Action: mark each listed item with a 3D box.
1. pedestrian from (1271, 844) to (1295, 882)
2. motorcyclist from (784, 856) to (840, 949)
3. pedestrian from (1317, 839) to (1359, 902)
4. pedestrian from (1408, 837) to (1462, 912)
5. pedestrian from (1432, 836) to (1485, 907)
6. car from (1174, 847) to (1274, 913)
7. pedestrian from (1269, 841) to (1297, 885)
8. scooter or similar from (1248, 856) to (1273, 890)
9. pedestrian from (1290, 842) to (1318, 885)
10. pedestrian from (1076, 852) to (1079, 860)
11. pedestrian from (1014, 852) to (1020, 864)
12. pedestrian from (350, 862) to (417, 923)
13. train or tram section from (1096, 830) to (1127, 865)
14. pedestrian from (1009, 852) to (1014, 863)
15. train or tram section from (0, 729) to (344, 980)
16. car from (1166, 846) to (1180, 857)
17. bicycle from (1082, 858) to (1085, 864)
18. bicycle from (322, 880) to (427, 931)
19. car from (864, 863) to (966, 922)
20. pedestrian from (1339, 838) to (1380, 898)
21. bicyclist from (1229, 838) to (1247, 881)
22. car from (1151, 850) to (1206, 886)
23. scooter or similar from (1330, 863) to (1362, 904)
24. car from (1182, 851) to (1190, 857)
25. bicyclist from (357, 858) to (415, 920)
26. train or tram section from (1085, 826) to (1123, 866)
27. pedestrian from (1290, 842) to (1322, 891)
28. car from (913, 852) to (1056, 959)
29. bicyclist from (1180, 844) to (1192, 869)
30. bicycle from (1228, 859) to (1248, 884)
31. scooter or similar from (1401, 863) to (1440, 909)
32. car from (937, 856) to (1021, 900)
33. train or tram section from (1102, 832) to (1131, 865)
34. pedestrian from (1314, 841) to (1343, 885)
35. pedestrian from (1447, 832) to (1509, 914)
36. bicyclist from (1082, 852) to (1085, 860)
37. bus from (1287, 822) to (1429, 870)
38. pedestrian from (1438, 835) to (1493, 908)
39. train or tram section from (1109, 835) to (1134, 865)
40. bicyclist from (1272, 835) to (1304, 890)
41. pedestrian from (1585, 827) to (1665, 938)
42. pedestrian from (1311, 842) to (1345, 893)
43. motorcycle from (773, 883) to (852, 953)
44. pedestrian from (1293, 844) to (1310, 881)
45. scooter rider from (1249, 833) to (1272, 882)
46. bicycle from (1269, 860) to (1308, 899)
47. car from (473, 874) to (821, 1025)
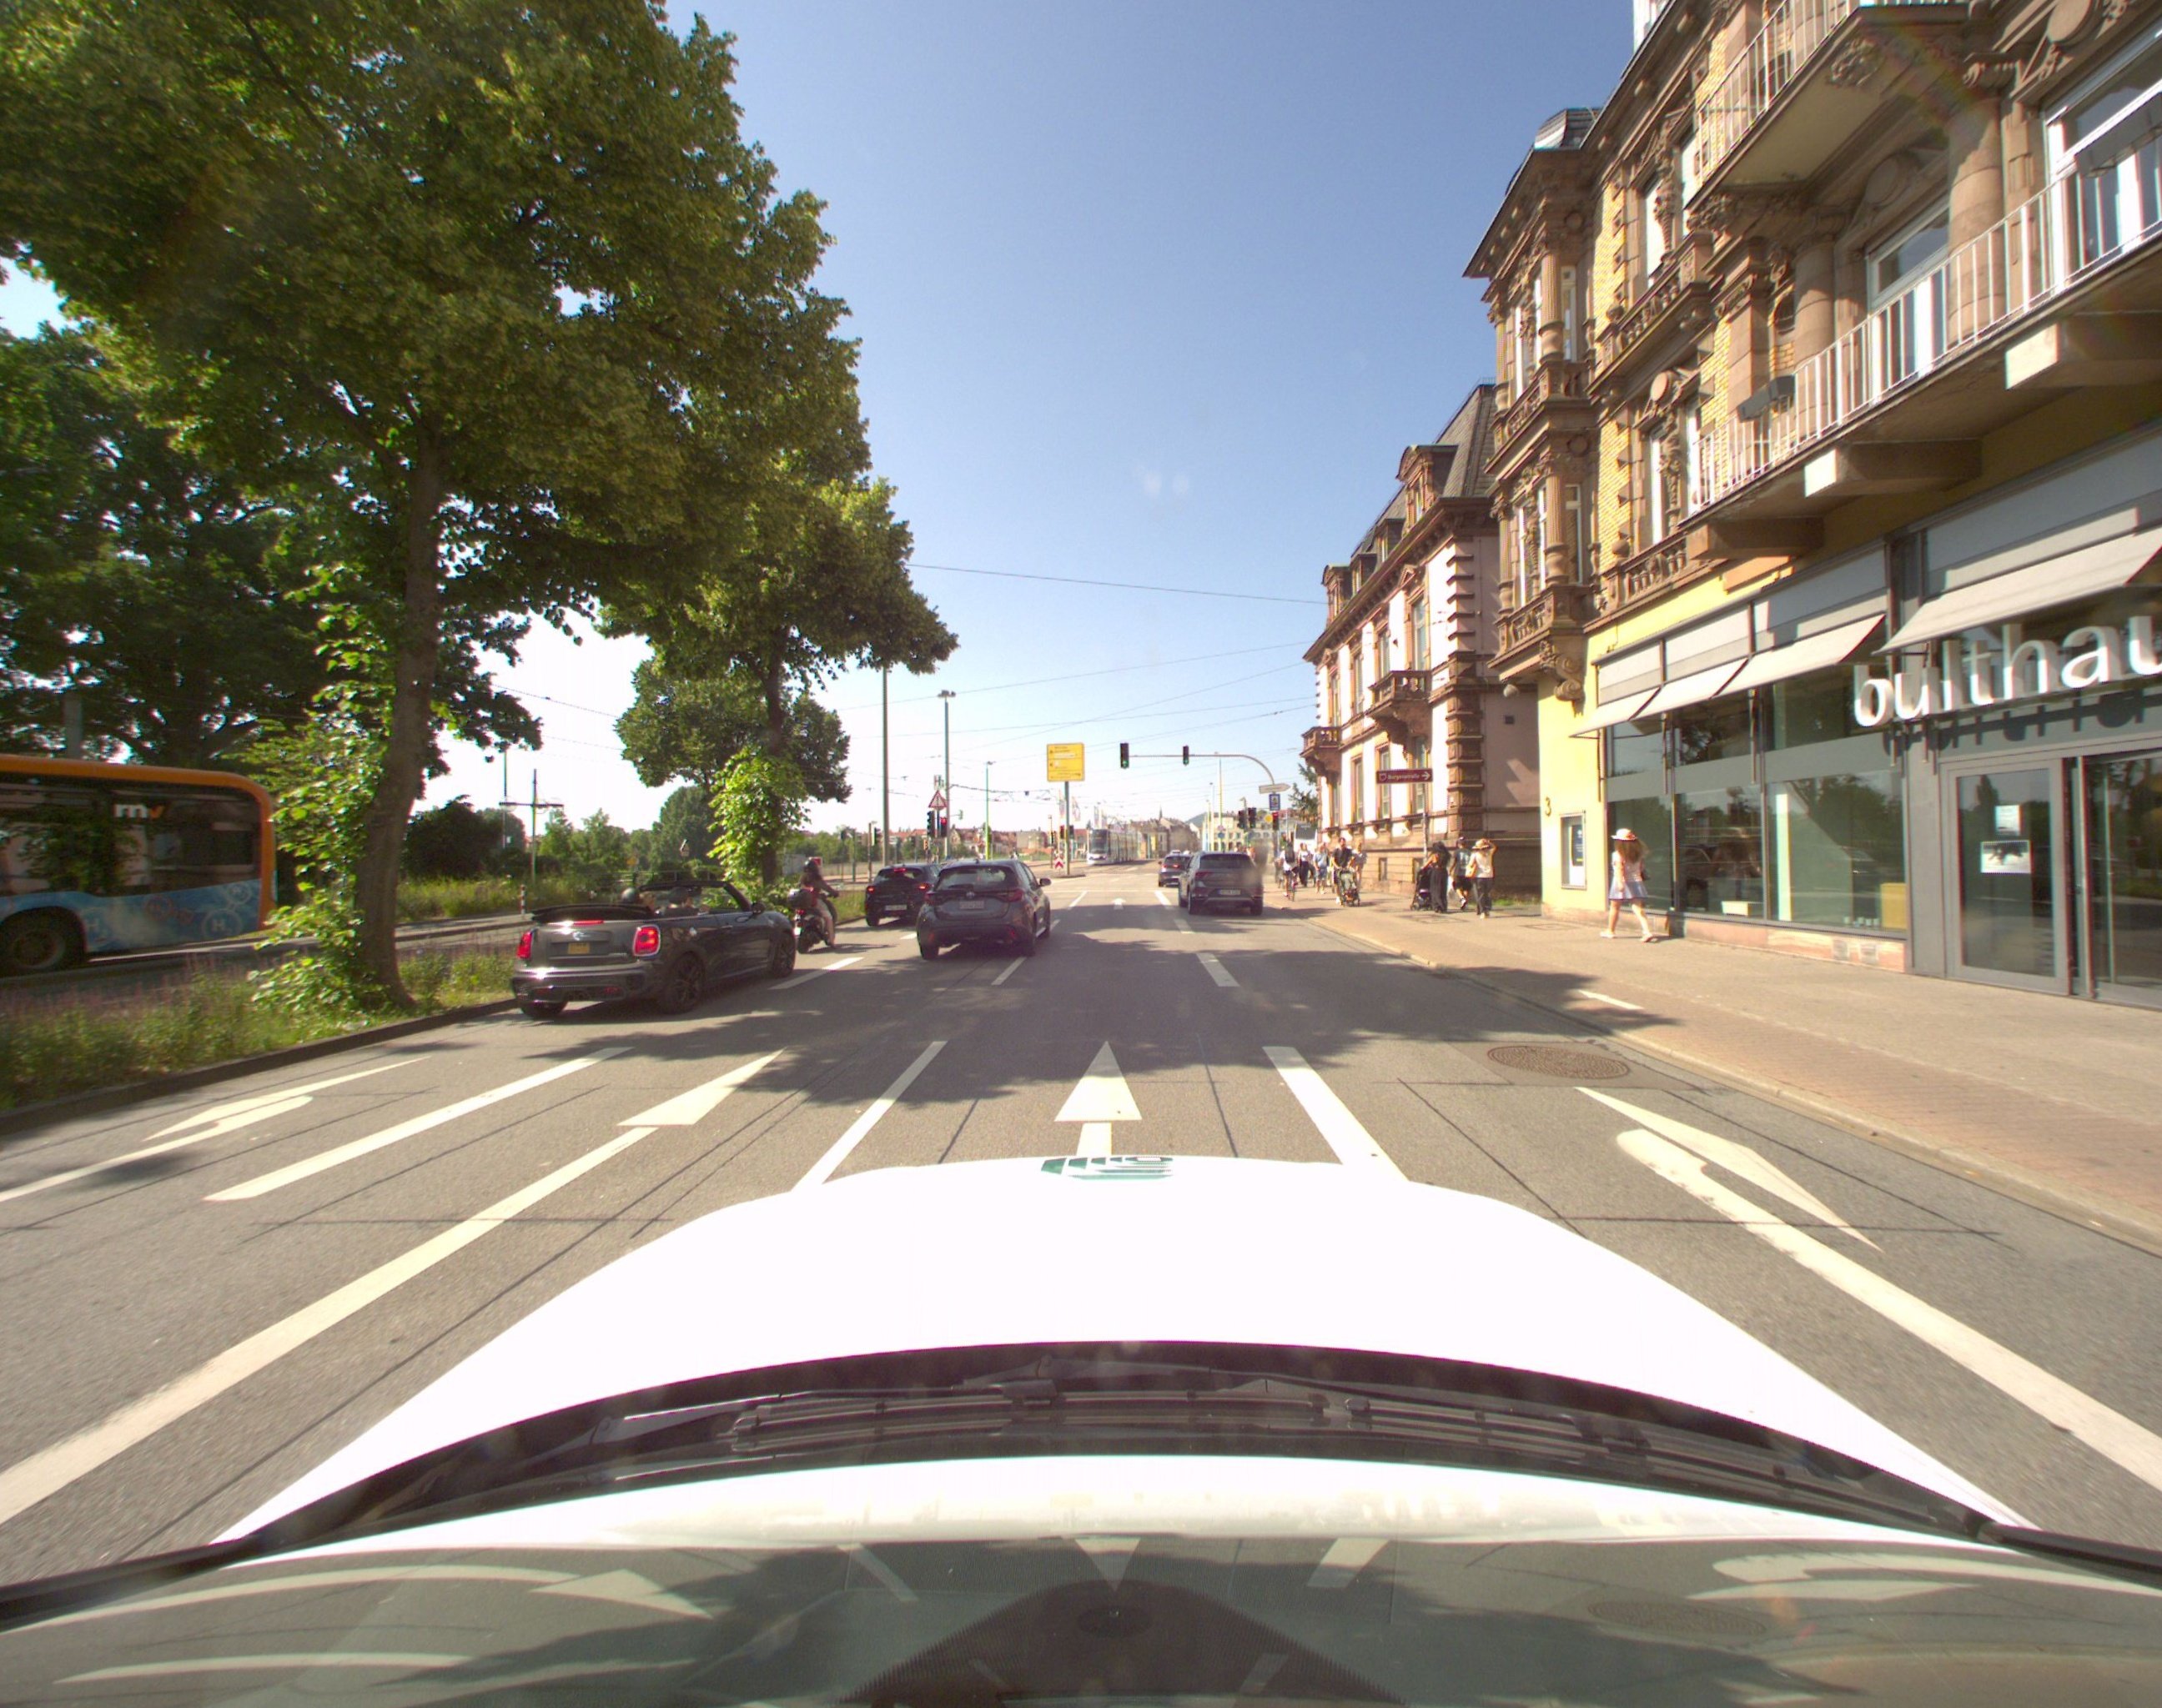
[{"bbox_3d":[9.033,0.400,36.422,0.859,1.640,0.876,1,-1,2],"label":"pedestrian"},{"bbox_3d":[-4.701,0.838,14.261,0.687,1.556,0.718,-2,-2,0],"label":"motorcyclist"},{"bbox_3d":[6.980,0.441,22.129,0.859,1.640,0.876,1,-1,2],"label":"pedestrian"},{"bbox_3d":[8.033,0.460,18.526,0.859,1.640,0.876,1,-1,2],"label":"pedestrian"},{"bbox_3d":[9.016,0.405,19.488,0.859,1.640,0.876,1,-1,2],"label":"pedestrian"},{"bbox_3d":[3.545,0.610,20.879,1.867,1.493,4.000,1,0,1],"label":"car"},{"bbox_3d":[7.775,0.338,31.427,0.859,1.640,0.876,1,-1,2],"label":"pedestrian"},{"bbox_3d":[6.419,0.675,29.232,0.685,1.167,1.466,1,-1,6],"label":"scooter or similar"},{"bbox_3d":[8.707,0.359,31.775,0.859,1.640,0.876,1,-1,2],"label":"pedestrian"},{"bbox_3d":[-0.668,0.316,146.272,0.556,1.416,0.636,1,-1,1],"label":"pedestrian"},{"bbox_3d":[-7.836,0.450,99.703,0.556,1.416,0.636,1,-1,1],"label":"pedestrian"},{"bbox_3d":[-22.582,1.229,26.393,0.974,1.891,1.255,1,-1,6],"label":"pedestrian"},{"bbox_3d":[3.446,-0.702,91.198,2.808,3.777,8.240,1,0,6],"label":"train or tram section"},{"bbox_3d":[-8.500,0.437,99.730,0.556,1.416,0.636,1,-1,1],"label":"pedestrian"},{"bbox_3d":[-16.795,-0.022,12.679,2.811,3.581,8.232,1,0,3],"label":"train or tram section"},{"bbox_3d":[12.796,-0.328,113.706,1.850,1.507,4.005,1,0,4],"label":"car"},{"bbox_3d":[0.400,1.324,149.023,0.556,1.125,1.223,1,-1,2],"label":"bicycle"},{"bbox_3d":[-21.796,1.554,25.225,0.839,1.424,2.506,1,-1,6],"label":"bicycle"},{"bbox_3d":[-4.066,0.906,20.564,1.445,1.301,4.005,-2,-1,4],"label":"car"},{"bbox_3d":[7.919,0.385,23.166,0.859,1.640,0.876,-1,0,2],"label":"pedestrian"},{"bbox_3d":[7.274,0.245,37.749,0.685,1.962,0.779,1,-1,5],"label":"bicyclist"},{"bbox_3d":[4.266,0.596,36.197,1.987,1.493,4.000,1,0,1],"label":"car"},{"bbox_3d":[6.960,0.770,21.416,0.598,1.047,0.800,1,-1,1],"label":"scooter or similar"},{"bbox_3d":[26.246,-0.019,203.564,1.850,1.507,4.005,1,0,4],"label":"car"},{"bbox_3d":[-21.754,1.084,25.518,0.839,1.899,1.032,1,-1,6],"label":"bicyclist"},{"bbox_3d":[2.441,-0.783,83.055,2.806,3.777,8.245,1,0,8],"label":"train or tram section"},{"bbox_3d":[7.703,0.431,27.882,0.859,1.640,0.876,1,-1,2],"label":"pedestrian"},{"bbox_3d":[-1.457,0.765,13.768,1.770,1.475,4.001,-2,-1,2],"label":"car"},{"bbox_3d":[6.808,0.158,52.719,0.686,1.577,1.050,1,-1,2],"label":"bicyclist"},{"bbox_3d":[7.260,0.792,37.752,0.730,1.093,1.901,1,-1,6],"label":"bicycle"},{"bbox_3d":[8.014,0.742,19.266,0.598,1.047,0.800,1,-1,1],"label":"scooter or similar"},{"bbox_3d":[-3.342,0.768,27.502,2.028,1.332,4.005,1,0,4],"label":"car"},{"bbox_3d":[4.402,-0.622,99.281,2.807,3.777,8.242,1,0,7],"label":"train or tram section"},{"bbox_3d":[9.589,0.348,31.624,0.859,1.640,0.876,1,-1,2],"label":"pedestrian"},{"bbox_3d":[8.271,0.388,17.001,0.859,1.640,0.876,-1,0,2],"label":"pedestrian"},{"bbox_3d":[0.434,0.390,149.014,0.556,1.536,0.744,1,-1,1],"label":"bicyclist"},{"bbox_3d":[17.557,-0.431,51.515,8.646,2.776,2.957,1,-1,-22],"label":"bus"},{"bbox_3d":[8.967,0.389,19.005,0.859,1.640,0.876,-1,0,2],"label":"pedestrian"},{"bbox_3d":[5.405,-0.540,107.583,2.809,3.777,8.238,1,0,5],"label":"train or tram section"},{"bbox_3d":[6.128,0.253,24.154,0.685,1.577,1.050,1,-1,3],"label":"bicyclist"},{"bbox_3d":[8.287,0.412,12.439,0.652,1.621,0.816,-2,0,2],"label":"pedestrian"},{"bbox_3d":[8.194,0.434,27.059,0.859,1.640,0.876,1,-1,2],"label":"pedestrian"},{"bbox_3d":[-4.689,1.088,14.371,0.696,1.064,1.910,-3,0,1],"label":"motorcycle"},{"bbox_3d":[9.967,0.381,36.846,0.574,1.640,0.611,1,-1,2],"label":"pedestrian"},{"bbox_3d":[6.449,0.125,29.275,0.685,1.729,0.779,1,-1,5],"label":"scooter rider"},{"bbox_3d":[6.126,0.745,24.122,0.731,1.093,1.899,1,-1,3],"label":"bicycle"},{"bbox_3d":[-4.868,0.980,9.908,1.807,1.332,4.005,-3,-1,4],"label":"car"}]
